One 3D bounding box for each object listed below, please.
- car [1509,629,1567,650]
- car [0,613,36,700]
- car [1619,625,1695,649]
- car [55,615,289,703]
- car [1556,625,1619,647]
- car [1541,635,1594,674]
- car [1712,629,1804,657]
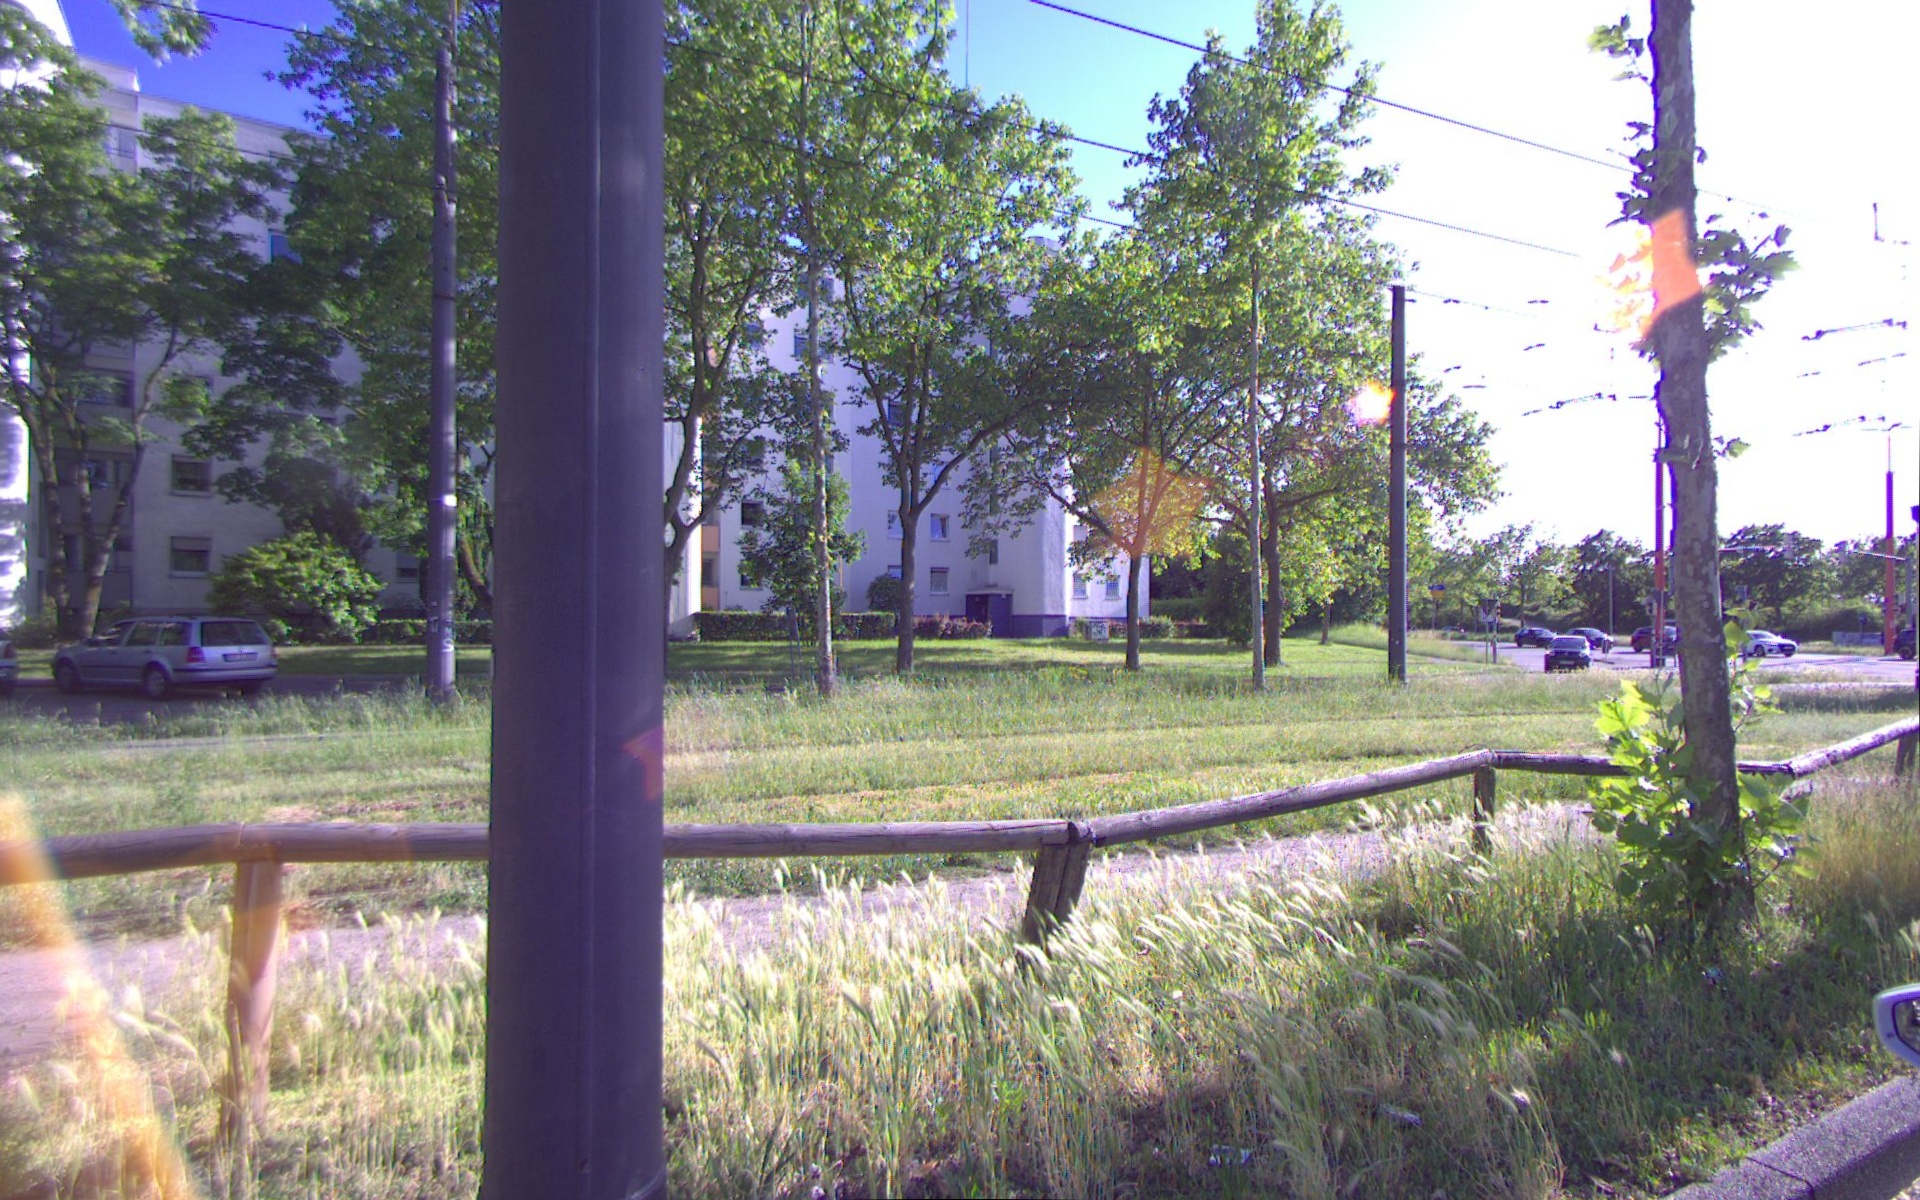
[{"bbox_3d":[44.822,3.046,77.940,1.877,1.483,4.239,1,-1,-3],"label":"car"},{"bbox_3d":[-17.926,0.927,17.137,3.609,1.452,1.703,0,-1,20],"label":"car"},{"bbox_3d":[45.527,2.407,65.704,1.877,1.483,4.373,1,-1,-2],"label":"car"},{"bbox_3d":[-14.482,1.025,18.481,3.609,1.452,1.732,0,-1,20],"label":"car"},{"bbox_3d":[45.000,2.566,72.101,1.877,1.483,4.055,1,-1,-3],"label":"car"},{"bbox_3d":[24.771,2.173,40.991,1.795,1.439,3.750,0,-1,31],"label":"car"},{"bbox_3d":[45.730,2.425,57.689,1.877,1.483,4.222,1,-1,-2],"label":"car"}]
